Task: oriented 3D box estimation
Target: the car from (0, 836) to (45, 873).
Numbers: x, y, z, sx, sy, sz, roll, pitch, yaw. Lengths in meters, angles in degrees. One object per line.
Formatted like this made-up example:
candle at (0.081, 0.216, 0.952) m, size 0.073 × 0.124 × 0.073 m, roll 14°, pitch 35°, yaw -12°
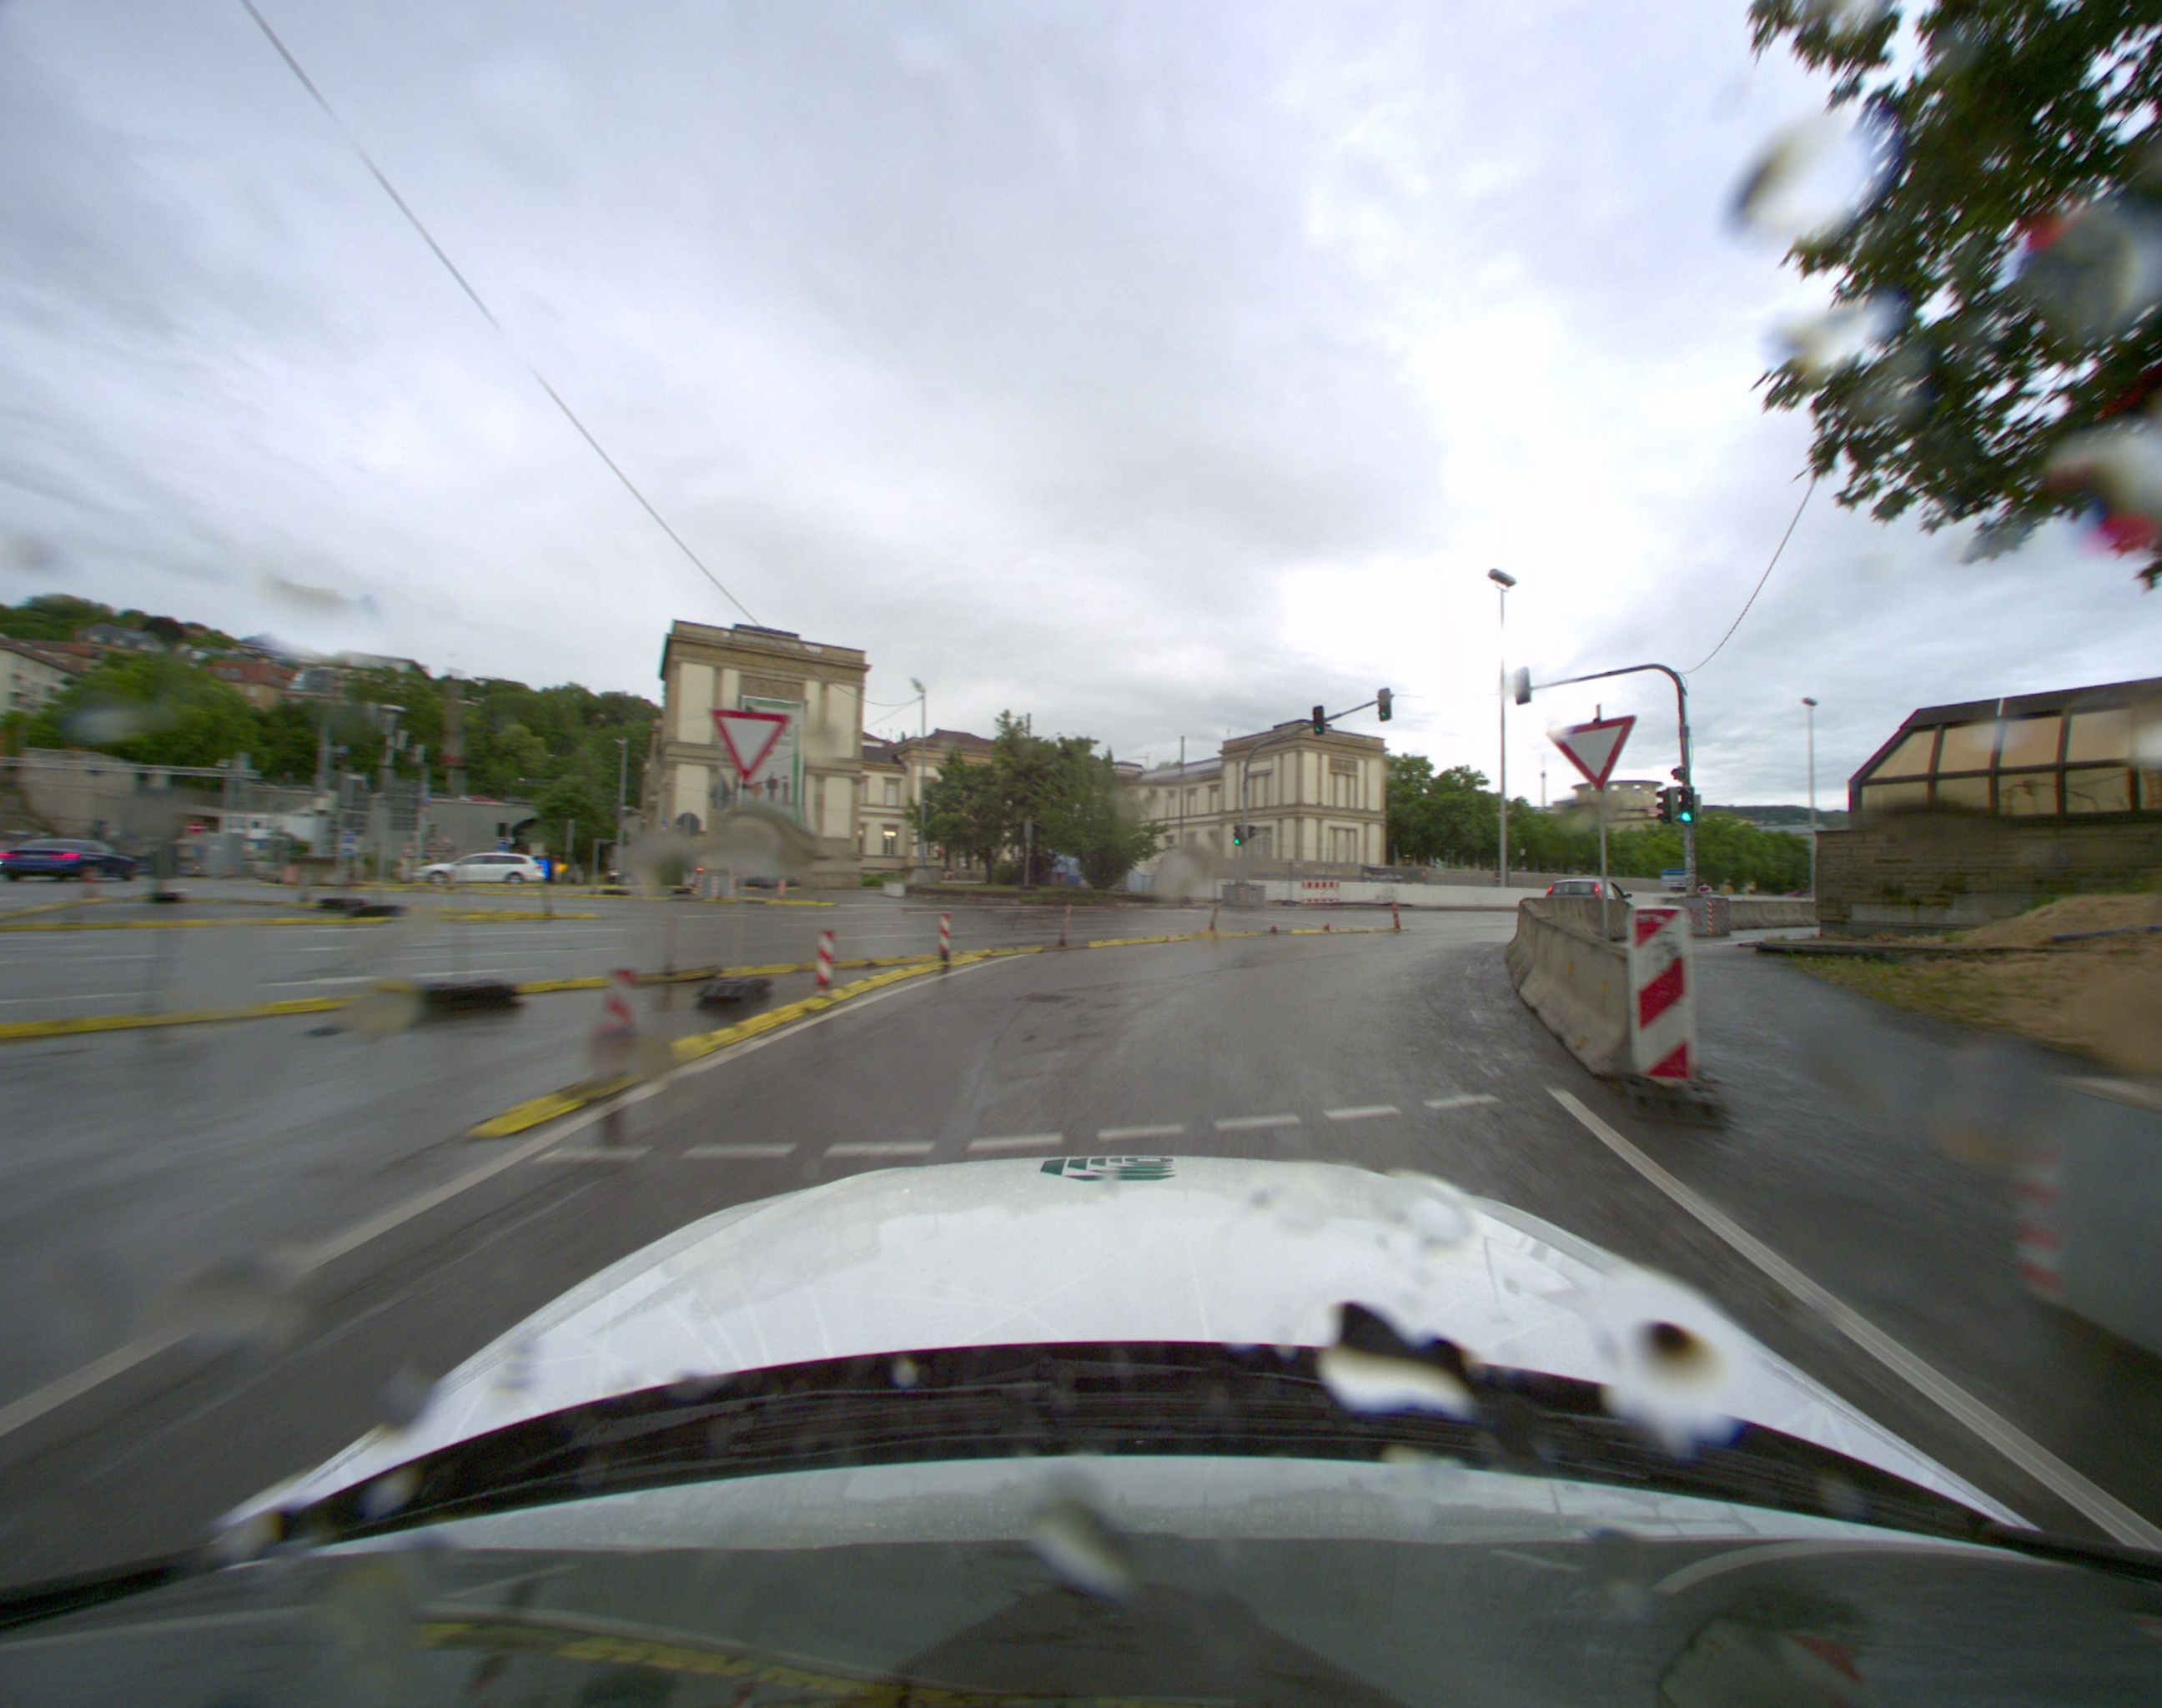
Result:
car at (-62.485, -0.006, 46.759) m, size 2.003 × 2.014 × 3.968 m, roll 4°, pitch -1°, yaw -25°

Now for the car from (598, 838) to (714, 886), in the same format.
car at (-20.527, 0.397, 39.393) m, size 4.706 × 2.014 × 1.980 m, roll 4°, pitch -1°, yaw -33°

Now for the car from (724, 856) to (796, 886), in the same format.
car at (-21.161, 1.150, 53.724) m, size 4.204 × 1.701 × 1.806 m, roll 4°, pitch -1°, yaw -29°

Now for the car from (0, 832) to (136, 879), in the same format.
car at (-34.623, 0.040, 27.916) m, size 2.009 × 1.439 × 3.956 m, roll 4°, pitch -2°, yaw -37°

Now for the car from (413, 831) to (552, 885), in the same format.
car at (-26.045, 0.190, 35.668) m, size 4.658 × 2.014 × 1.980 m, roll 4°, pitch -1°, yaw -33°

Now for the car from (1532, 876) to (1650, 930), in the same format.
car at (14.778, 1.411, 23.526) m, size 3.775 × 1.427 × 1.656 m, roll 3°, pitch -4°, yaw -38°
